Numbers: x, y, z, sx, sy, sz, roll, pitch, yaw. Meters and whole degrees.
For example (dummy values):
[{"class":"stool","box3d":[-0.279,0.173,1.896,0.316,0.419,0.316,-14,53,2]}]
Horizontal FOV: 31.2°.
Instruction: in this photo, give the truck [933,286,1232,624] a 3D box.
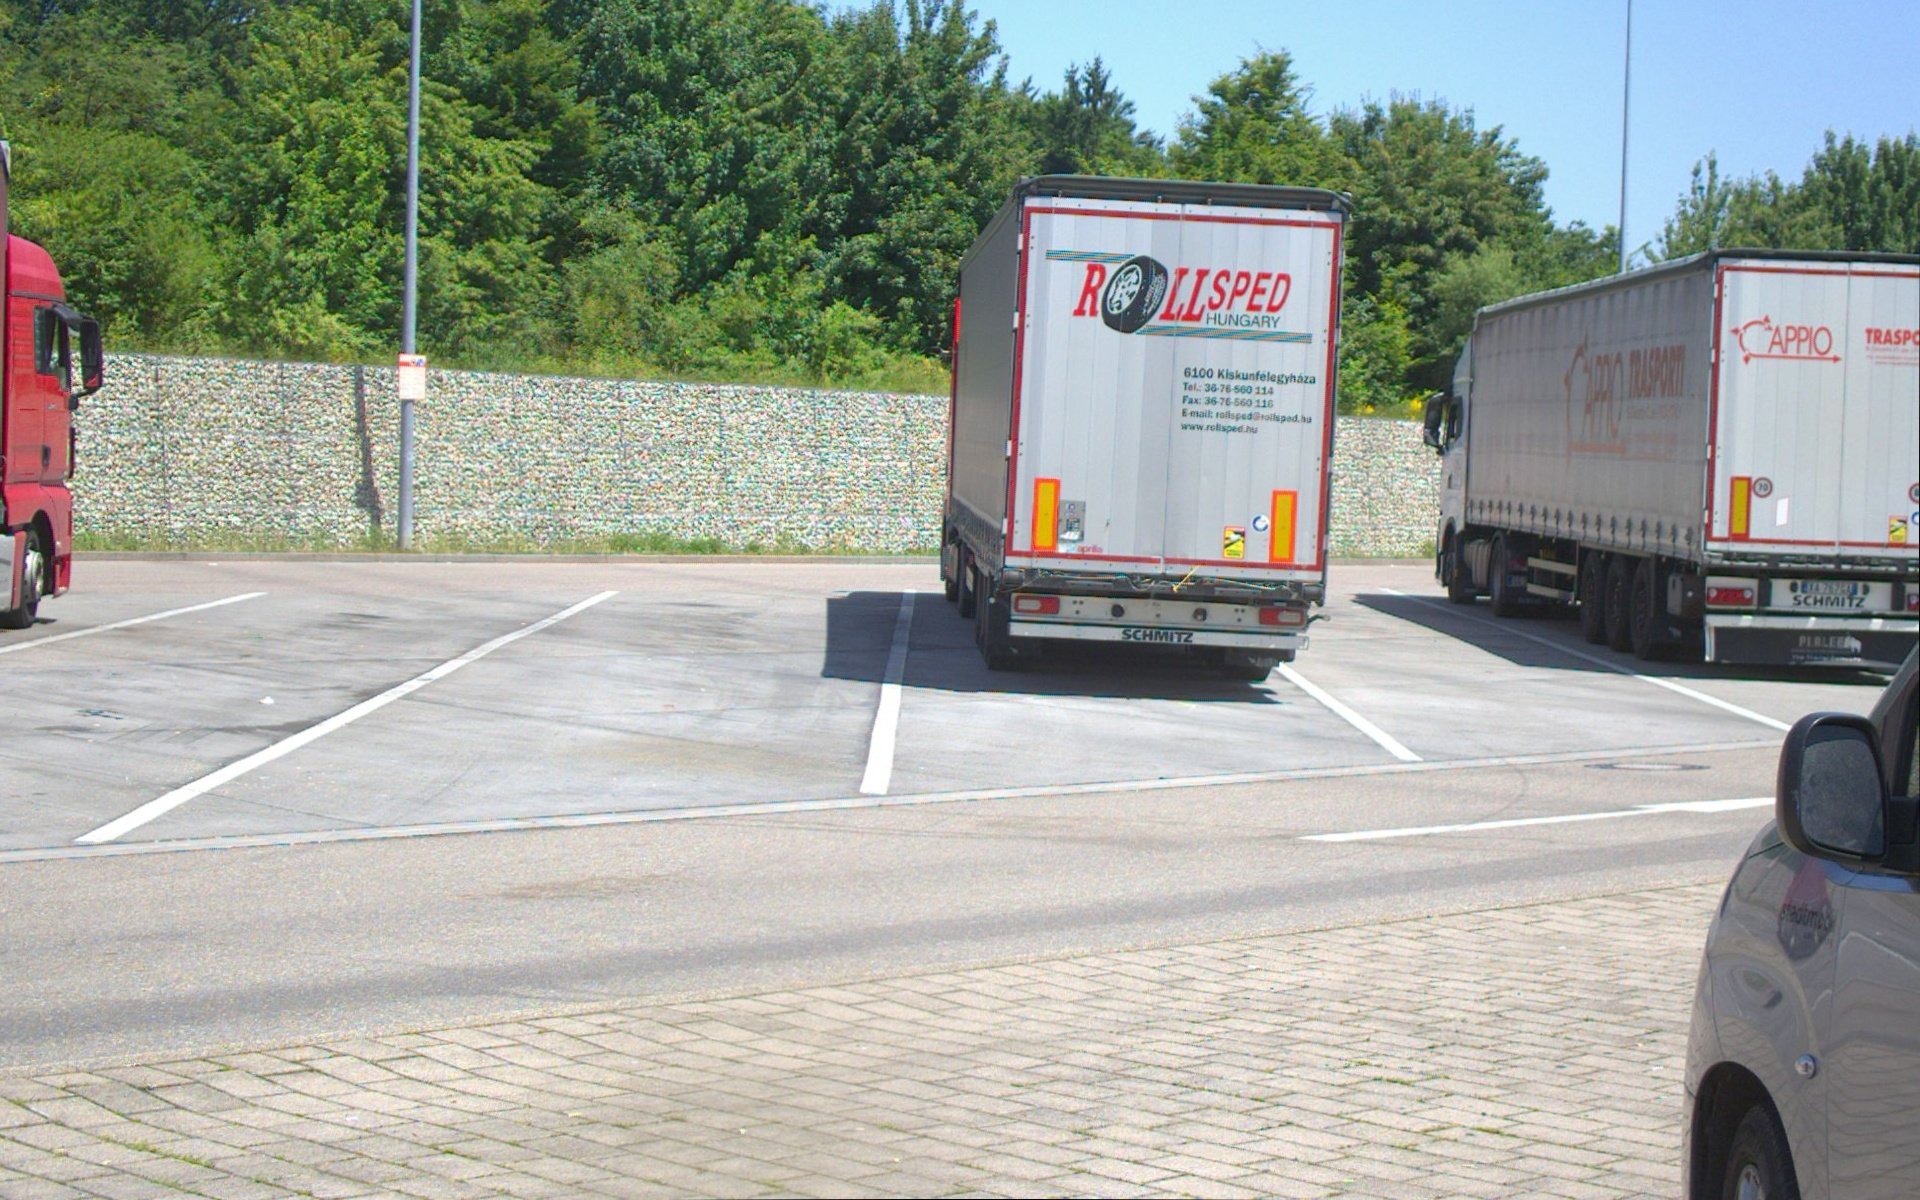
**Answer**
[{"class":"truck","box3d":[1.317,-1.740,40.509,3.103,3.554,5.900,2,3,-1]}]

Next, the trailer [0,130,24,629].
[{"class":"trailer","box3d":[-9.186,-1.491,21.566,2.791,4.071,14.133,2,3,-1]}]

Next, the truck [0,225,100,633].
[{"class":"truck","box3d":[-9.231,-1.448,28.140,2.851,3.316,5.900,2,3,-1]}]

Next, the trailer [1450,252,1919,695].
[{"class":"trailer","box3d":[8.120,-1.527,38.731,2.811,3.976,14.396,2,3,-1]}]

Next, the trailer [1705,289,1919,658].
[{"class":"trailer","box3d":[11.761,-1.460,39.783,2.811,3.976,14.396,2,3,-1]}]

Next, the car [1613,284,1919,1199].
[{"class":"car","box3d":[2.159,0.585,3.849,1.869,1.857,4.177,2,2,-2]}]

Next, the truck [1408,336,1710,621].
[{"class":"truck","box3d":[8.026,-1.704,46.831,2.862,3.509,5.900,2,3,-1]}]

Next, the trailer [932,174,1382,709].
[{"class":"trailer","box3d":[1.454,-1.597,33.617,3.133,3.976,14.397,2,3,-1]}]
